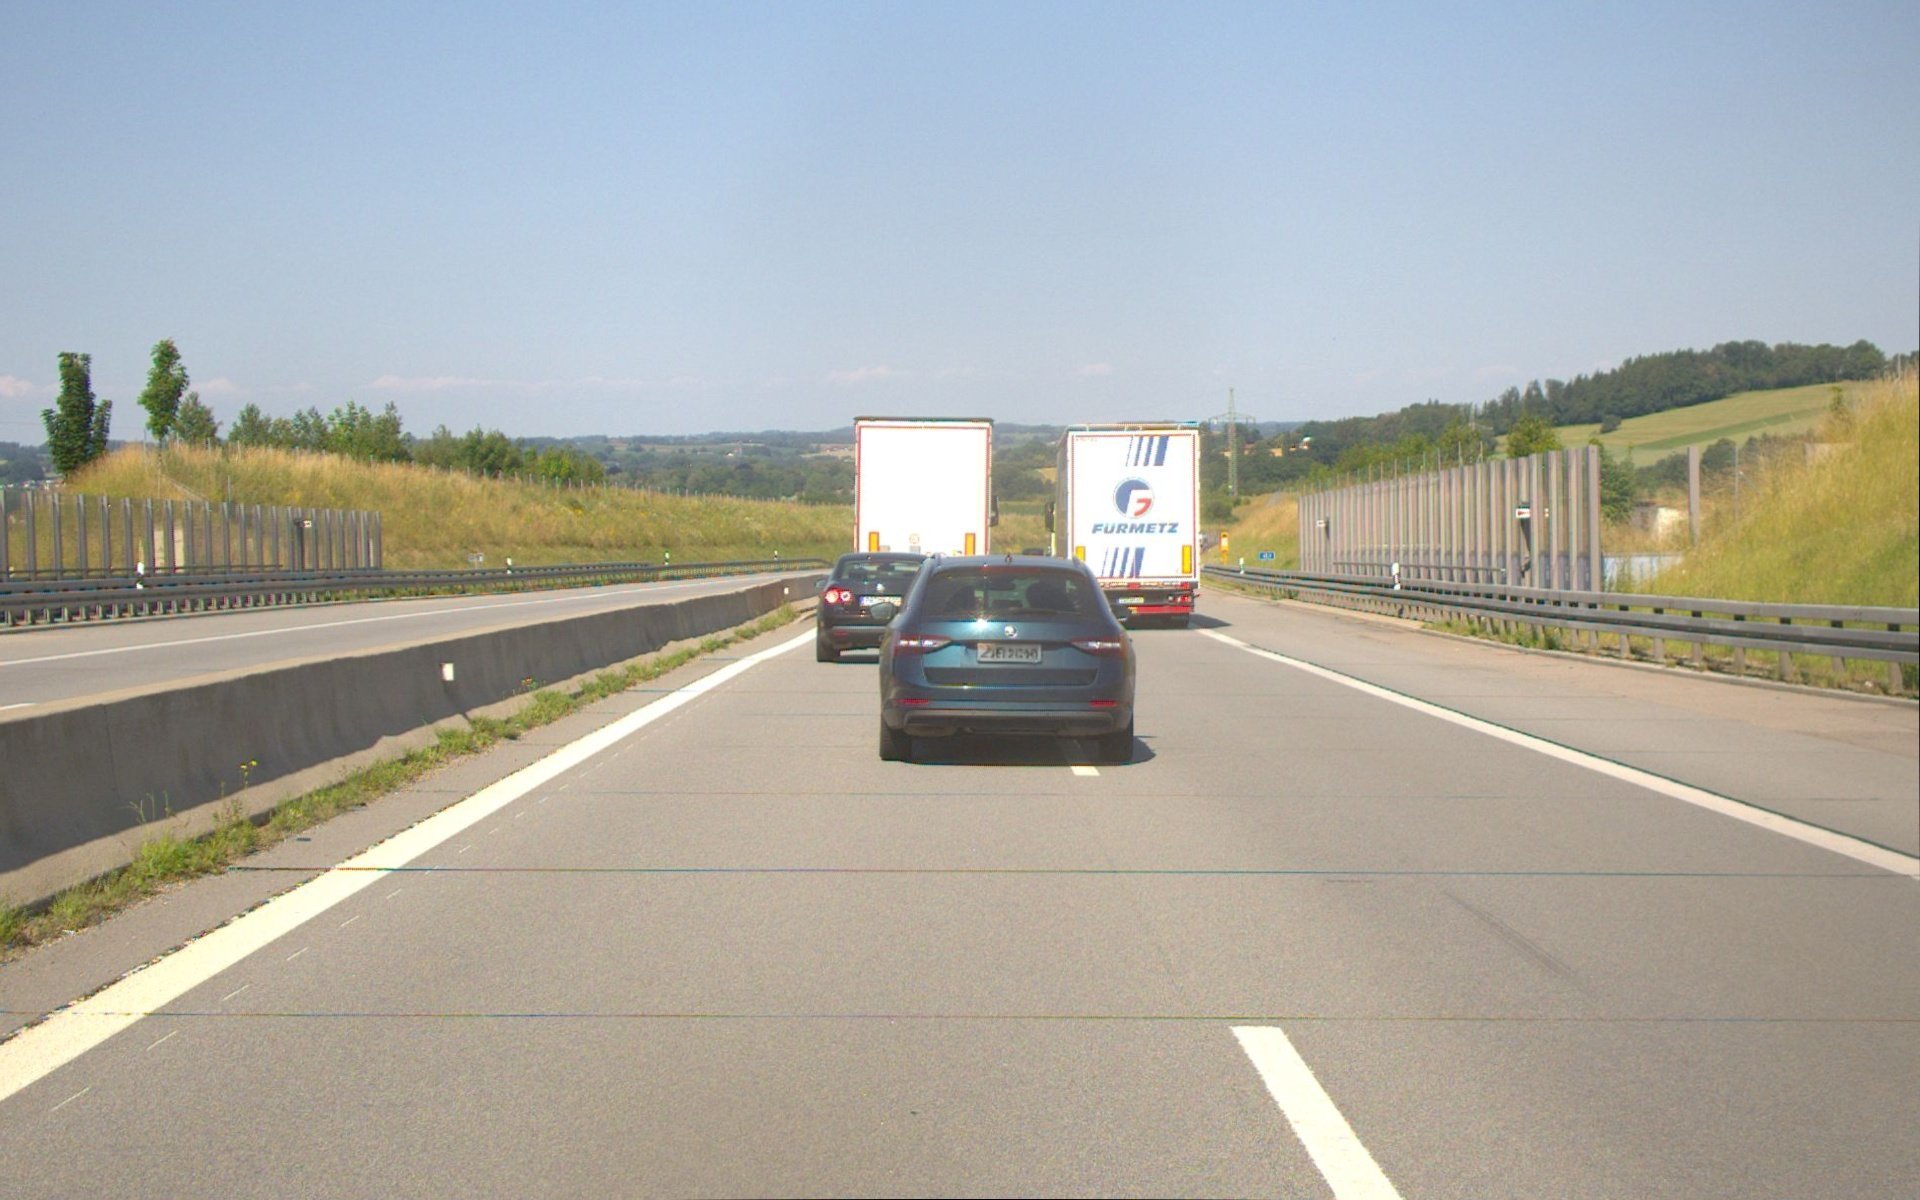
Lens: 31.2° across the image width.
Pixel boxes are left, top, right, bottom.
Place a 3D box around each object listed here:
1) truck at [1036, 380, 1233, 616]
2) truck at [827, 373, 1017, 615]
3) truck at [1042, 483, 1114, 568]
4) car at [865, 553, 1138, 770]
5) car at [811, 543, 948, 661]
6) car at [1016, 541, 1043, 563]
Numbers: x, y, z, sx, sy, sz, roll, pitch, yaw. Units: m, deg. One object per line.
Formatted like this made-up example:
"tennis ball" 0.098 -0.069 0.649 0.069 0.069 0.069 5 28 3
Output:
"truck" 3.479 -2.056 71.473 3.604 4.366 11.233 -2 1 1
"truck" -0.616 -2.090 69.577 3.211 4.366 11.233 -2 1 2
"truck" 6.377 -4.043 187.313 3.604 4.366 11.233 -2 1 1
"car" 0.224 0.386 24.931 1.776 1.436 3.789 0 1 -2
"car" -1.110 -0.005 46.030 1.700 1.436 4.001 -2 1 -2
"car" 4.513 -3.128 223.146 1.700 1.436 4.000 0 1 0
